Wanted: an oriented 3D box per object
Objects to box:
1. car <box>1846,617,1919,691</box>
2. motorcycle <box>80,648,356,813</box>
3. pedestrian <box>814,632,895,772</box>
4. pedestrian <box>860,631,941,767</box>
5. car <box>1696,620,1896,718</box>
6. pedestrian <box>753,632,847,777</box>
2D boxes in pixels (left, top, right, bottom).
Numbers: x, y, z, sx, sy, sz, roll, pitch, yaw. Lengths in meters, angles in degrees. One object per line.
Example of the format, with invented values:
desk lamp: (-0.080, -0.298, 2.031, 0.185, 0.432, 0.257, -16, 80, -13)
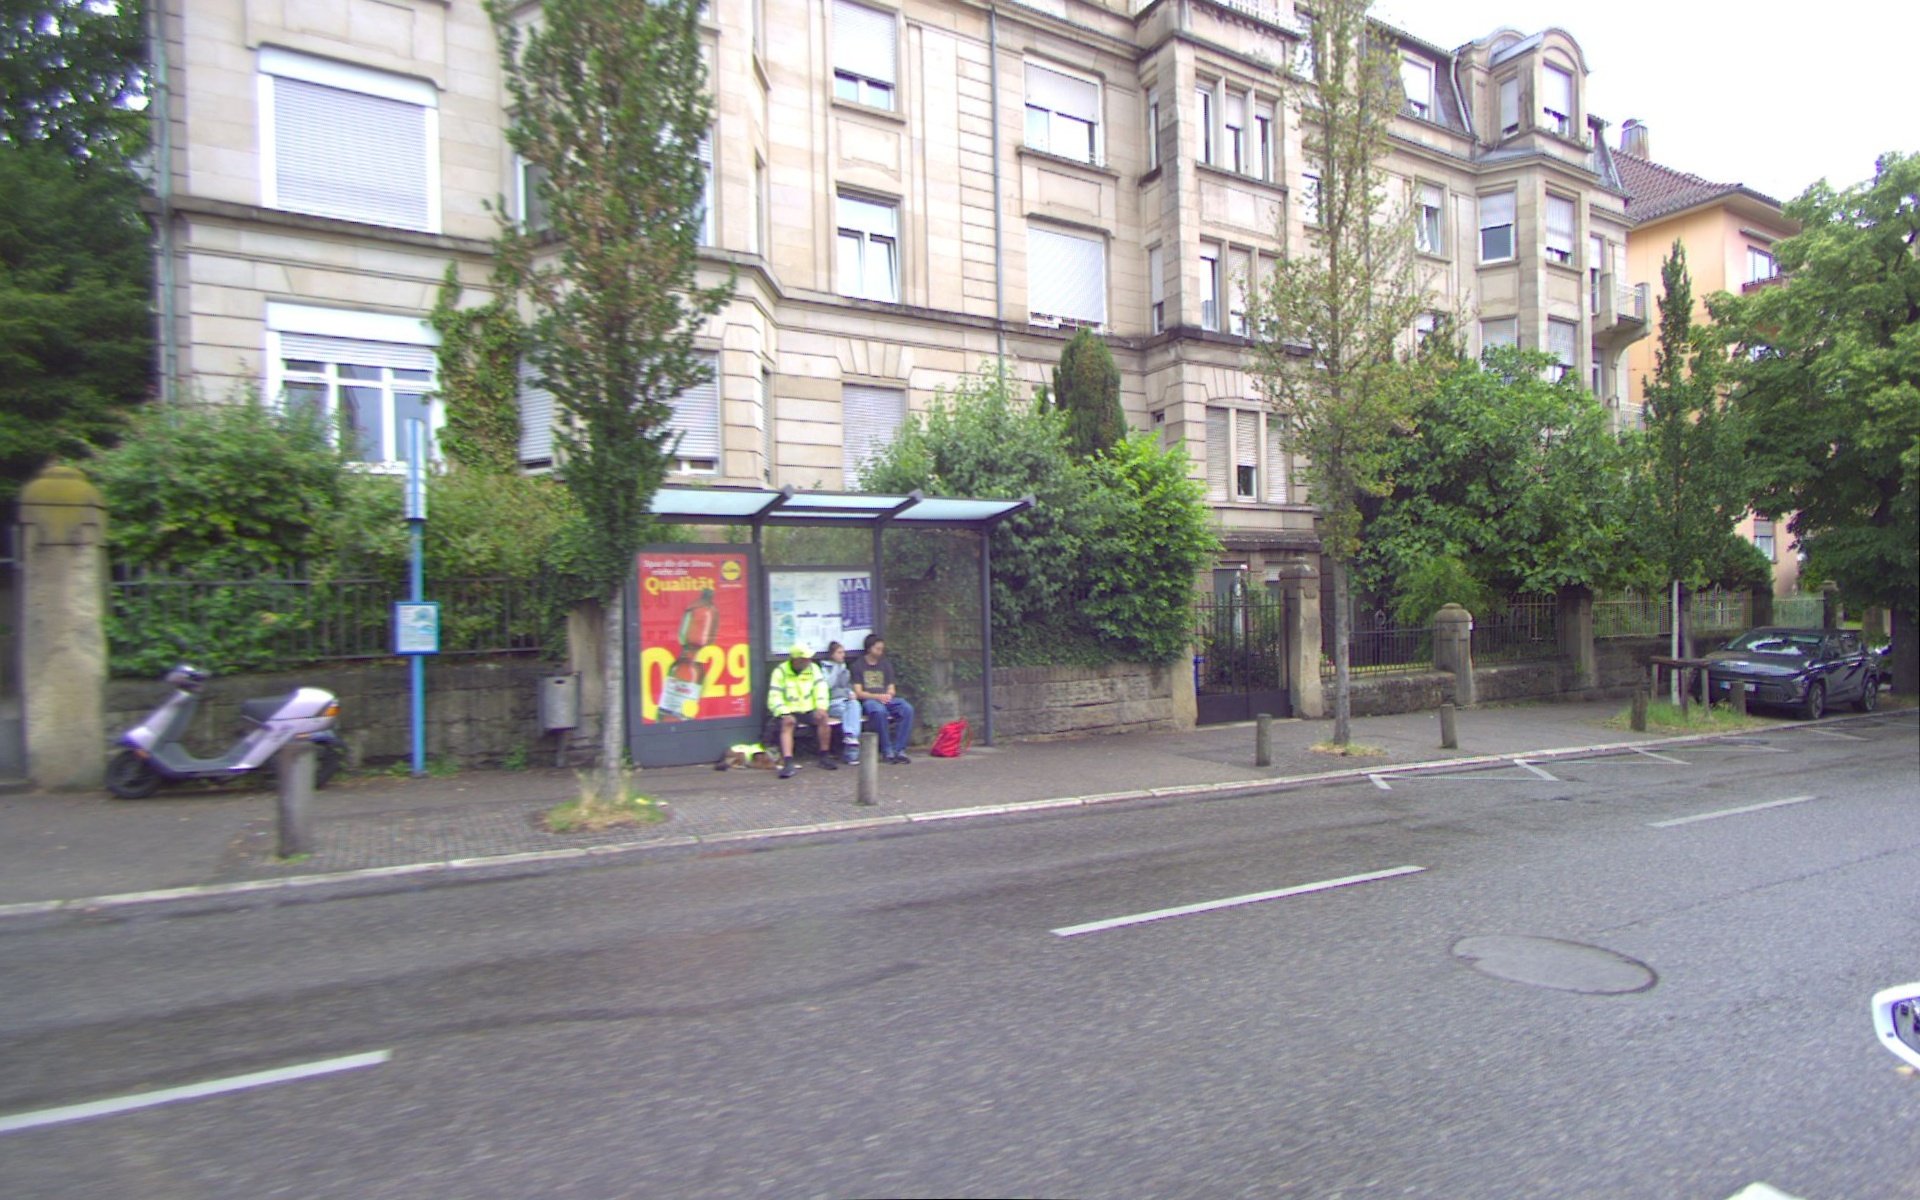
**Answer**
car: (22.649, 1.251, 23.413, 4.251, 1.580, 1.733, 2, 0, -30)
motorcycle: (-6.130, 1.039, 8.430, 1.740, 1.253, 0.653, 2, -2, -27)
pedestrian: (-1.156, 1.077, 10.954, 0.641, 1.451, 0.763, 1, -2, -28)
pedestrian: (-0.671, 1.079, 11.255, 0.641, 1.451, 0.763, 1, -2, -28)
car: (15.995, 1.254, 19.159, 4.257, 1.580, 1.731, 2, 1, -34)
pedestrian: (-1.704, 1.070, 10.636, 0.750, 1.451, 0.763, 1, -2, -30)
